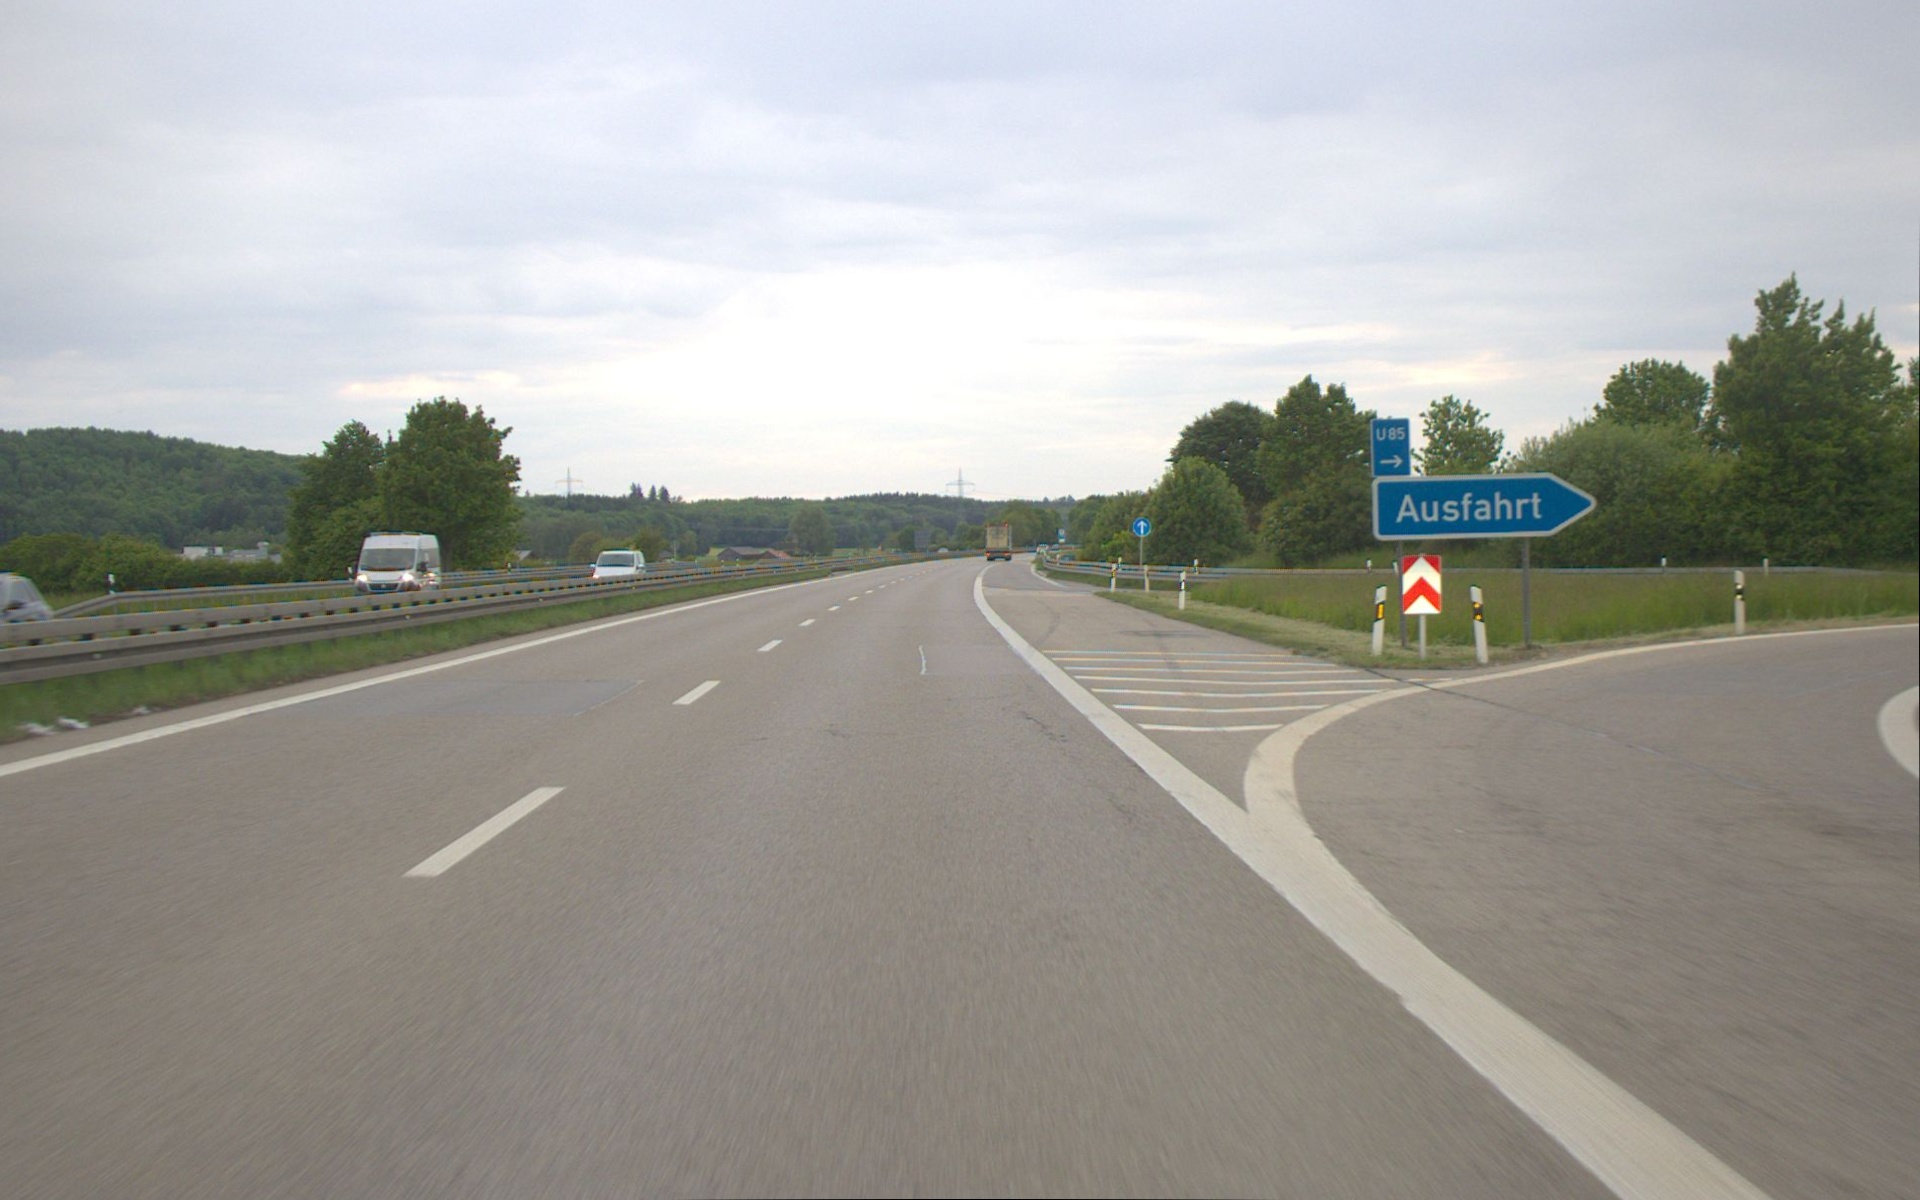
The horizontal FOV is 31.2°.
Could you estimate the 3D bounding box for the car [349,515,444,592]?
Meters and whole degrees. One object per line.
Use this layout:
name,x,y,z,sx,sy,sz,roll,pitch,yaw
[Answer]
car,-18.798,-1.567,114.942,2.145,2.474,6.589,1,1,-1

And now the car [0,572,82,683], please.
car,-14.163,0.360,50.005,1.747,1.502,4.200,1,1,-1
